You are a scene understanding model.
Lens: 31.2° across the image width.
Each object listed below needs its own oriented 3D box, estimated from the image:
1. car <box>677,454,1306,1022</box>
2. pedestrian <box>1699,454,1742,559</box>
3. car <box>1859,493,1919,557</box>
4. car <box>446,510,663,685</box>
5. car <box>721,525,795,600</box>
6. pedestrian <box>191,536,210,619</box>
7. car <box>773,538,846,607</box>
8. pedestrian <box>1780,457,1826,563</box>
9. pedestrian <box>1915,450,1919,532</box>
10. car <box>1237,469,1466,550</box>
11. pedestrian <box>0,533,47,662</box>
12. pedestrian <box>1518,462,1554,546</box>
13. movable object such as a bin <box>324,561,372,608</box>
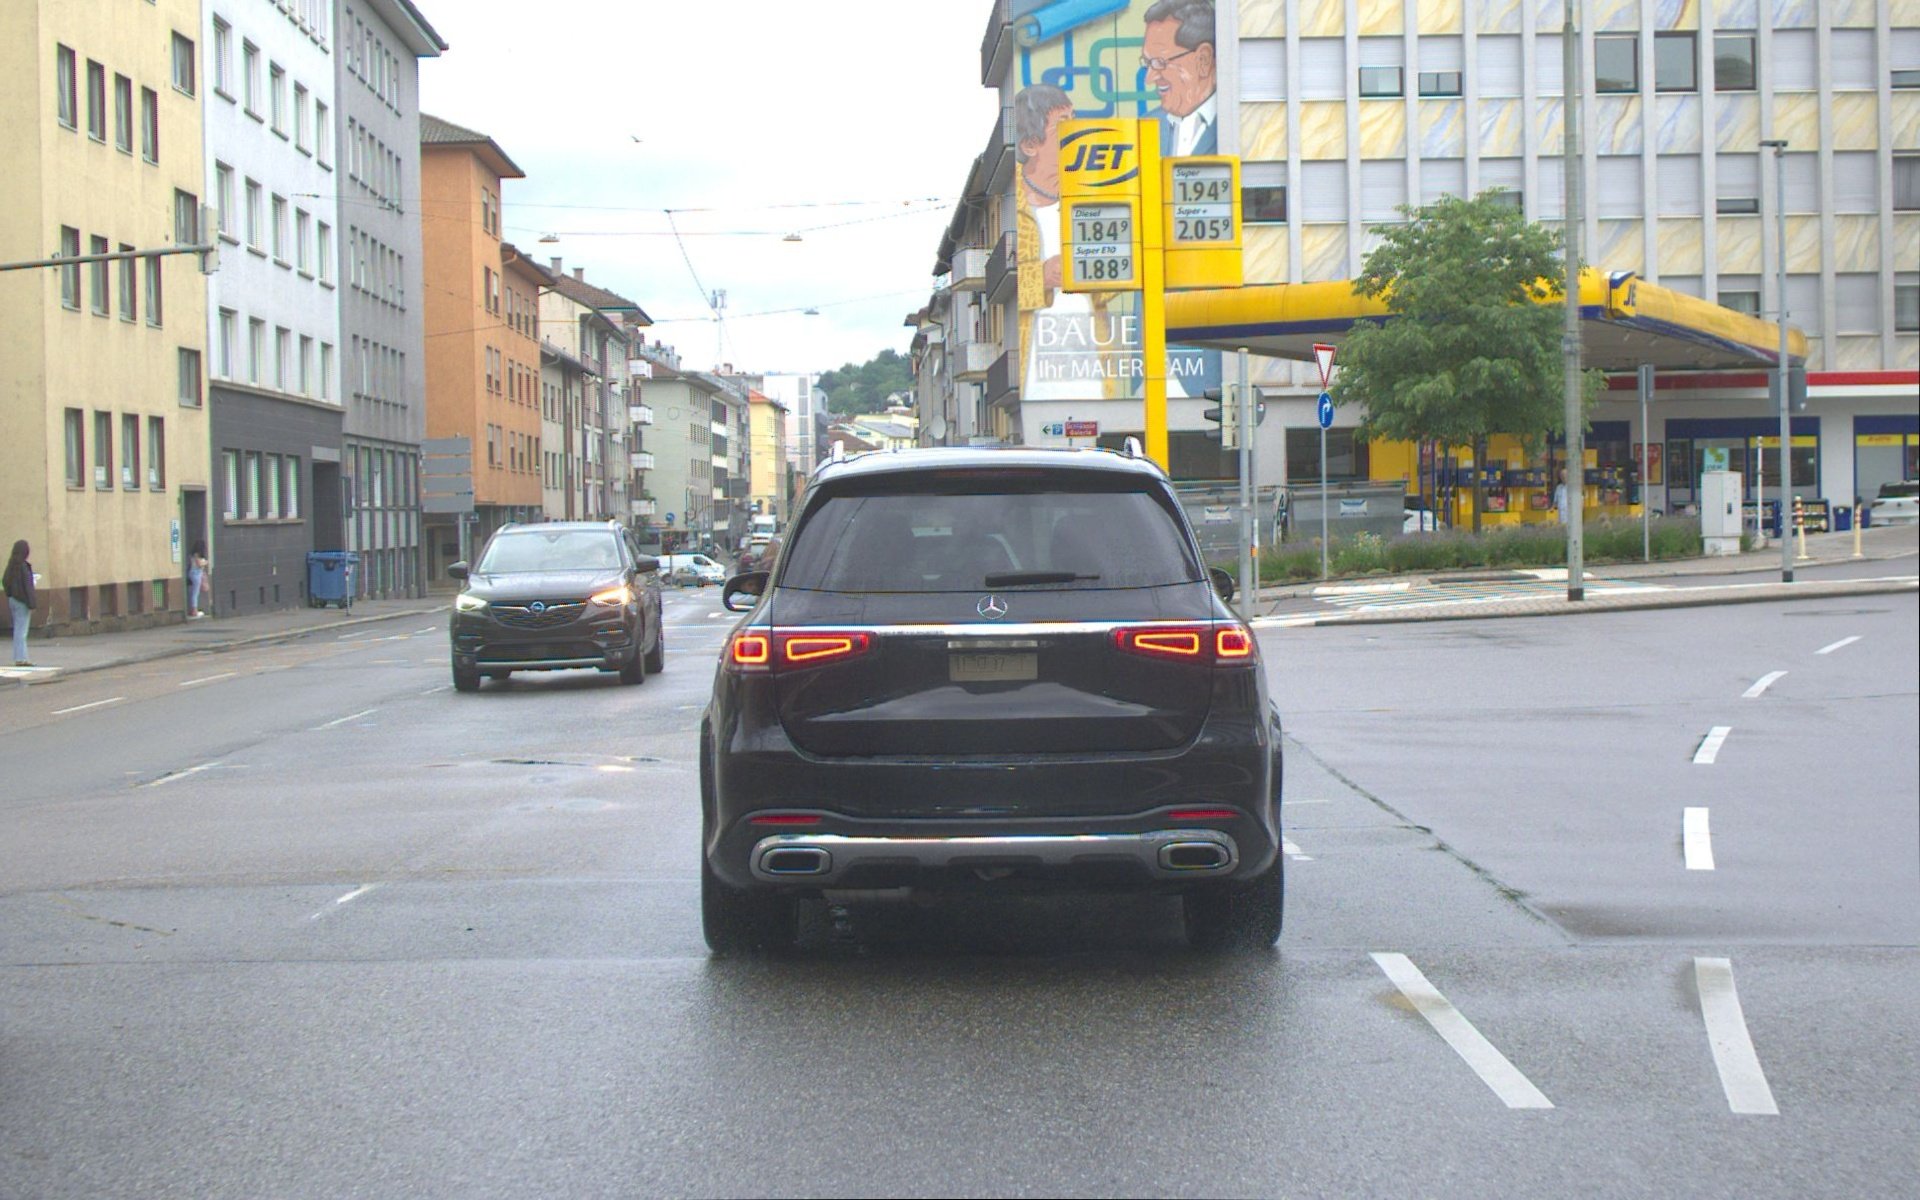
[{"bbox_3d":[0.060,0.464,13.068,1.993,1.794,4.000,1,-1,-1],"label":"car"},{"bbox_3d":[12.656,-1.555,57.210,0.526,1.721,0.688,0,1,26],"label":"pedestrian"},{"bbox_3d":[23.366,-1.781,82.579,1.998,1.393,3.991,0,-1,38],"label":"car"},{"bbox_3d":[-4.034,-0.004,34.384,1.993,1.609,4.190,1,-1,-6],"label":"car"},{"bbox_3d":[-5.706,-1.045,97.448,1.993,2.007,4.000,1,-1,-2],"label":"car"},{"bbox_3d":[-15.011,-0.443,67.928,0.245,1.619,0.411,1,-1,0],"label":"pedestrian"},{"bbox_3d":[-3.647,-0.645,83.468,1.683,1.590,4.000,1,-1,-2],"label":"car"},{"bbox_3d":[13.627,-1.450,55.567,0.572,1.692,0.631,1,-1,0],"label":"pedestrian"},{"bbox_3d":[20.378,-2.290,72.159,0.526,1.721,0.688,0,1,26],"label":"pedestrian"},{"bbox_3d":[7.247,-1.669,63.825,1.732,1.371,3.997,-2,1,-45],"label":"car"},{"bbox_3d":[-12.712,-0.041,46.488,0.627,1.721,0.650,-2,1,-11],"label":"pedestrian"},{"bbox_3d":[11.955,-1.996,71.357,0.526,1.721,0.688,0,1,29],"label":"pedestrian"},{"bbox_3d":[-13.585,-0.340,76.308,0.910,1.035,0.844,1,-1,0],"label":"movable object such as a bin"}]
